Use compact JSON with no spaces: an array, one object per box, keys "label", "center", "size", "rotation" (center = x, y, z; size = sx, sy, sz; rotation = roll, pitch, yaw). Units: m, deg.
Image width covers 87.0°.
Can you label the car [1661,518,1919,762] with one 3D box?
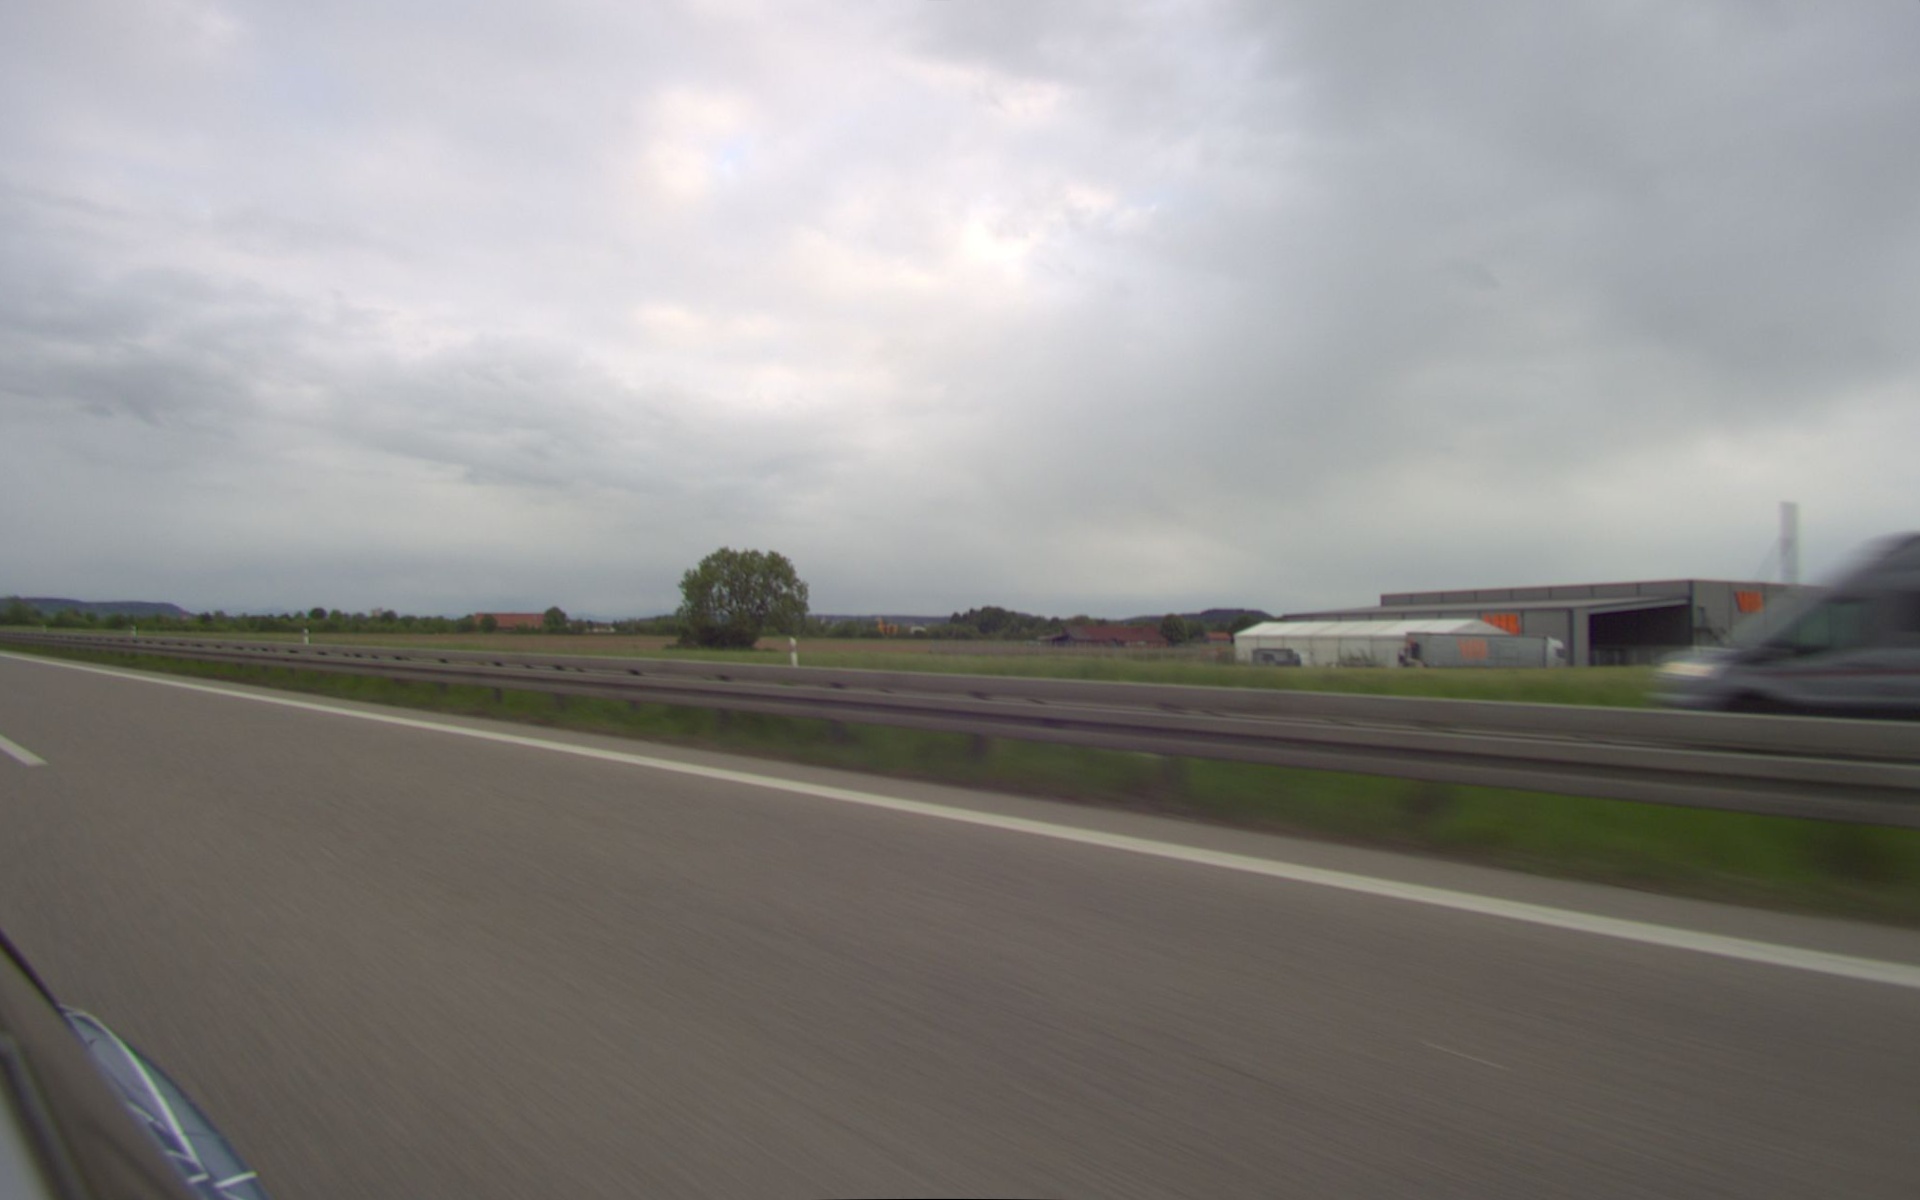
[{"label":"car","center":[12.352,0.454,11.997],"size":[6.424,2.822,2.084],"rotation":[-1,-1,41]}]

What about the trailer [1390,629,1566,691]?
[{"label":"trailer","center":[46.290,5.384,90.226],"size":[16.739,5.174,3.581],"rotation":[2,-2,-21]}]
